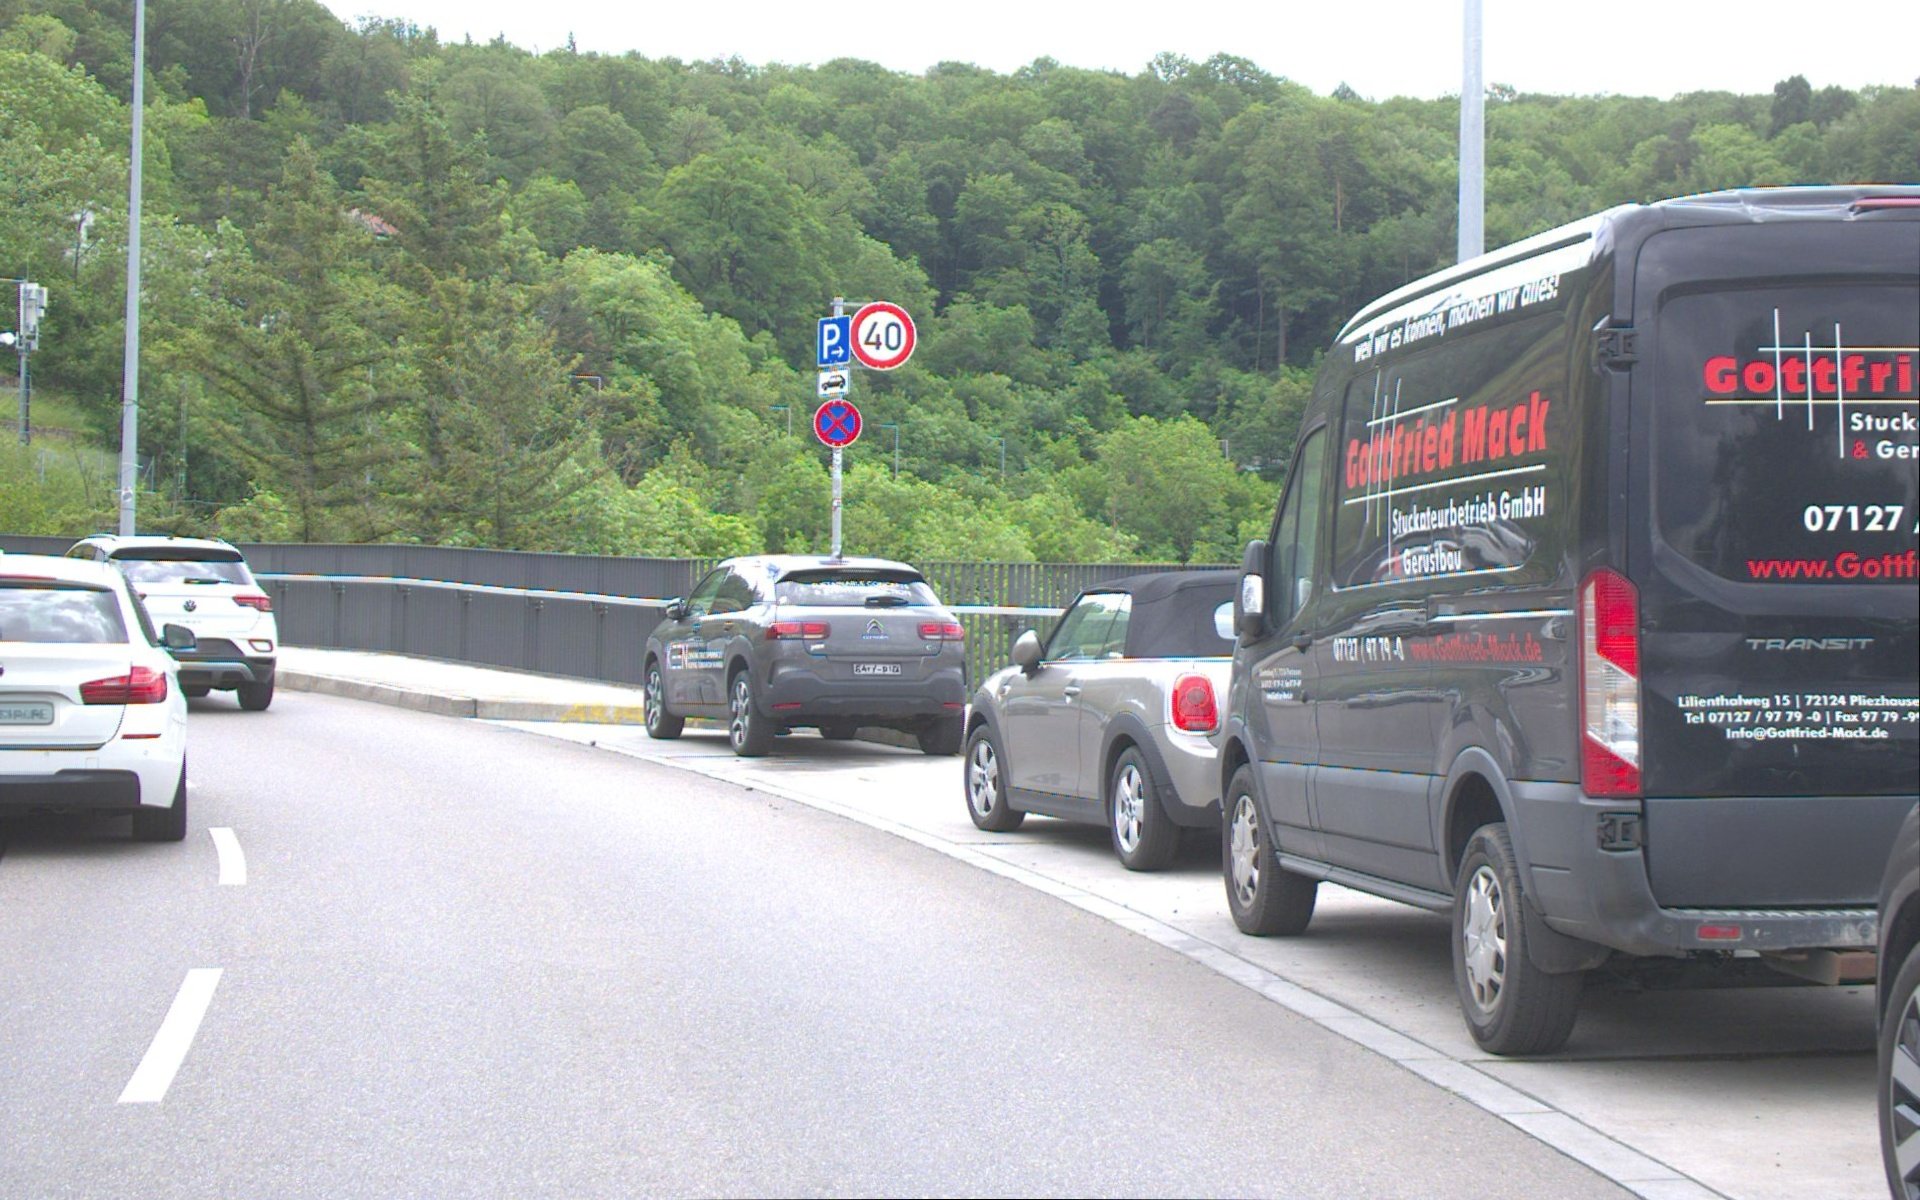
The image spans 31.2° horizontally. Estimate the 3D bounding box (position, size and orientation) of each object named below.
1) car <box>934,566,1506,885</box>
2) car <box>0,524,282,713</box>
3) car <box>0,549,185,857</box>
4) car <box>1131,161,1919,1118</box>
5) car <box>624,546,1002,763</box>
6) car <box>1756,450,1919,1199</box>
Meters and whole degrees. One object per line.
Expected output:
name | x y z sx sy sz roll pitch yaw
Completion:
car | 1.203 0.551 17.699 1.714 1.426 3.851 0 1 -16
car | -7.670 0.128 31.931 1.827 1.600 4.001 -2 1 -24
car | -5.289 0.455 18.418 1.827 1.454 4.487 0 1 -18
car | 2.272 0.033 12.094 2.166 2.513 5.772 -2 1 -8
car | -1.241 0.372 26.822 1.874 1.537 4.091 1 0 -18
car | 3.048 0.540 5.331 1.993 1.712 5.050 -1 0 -6
